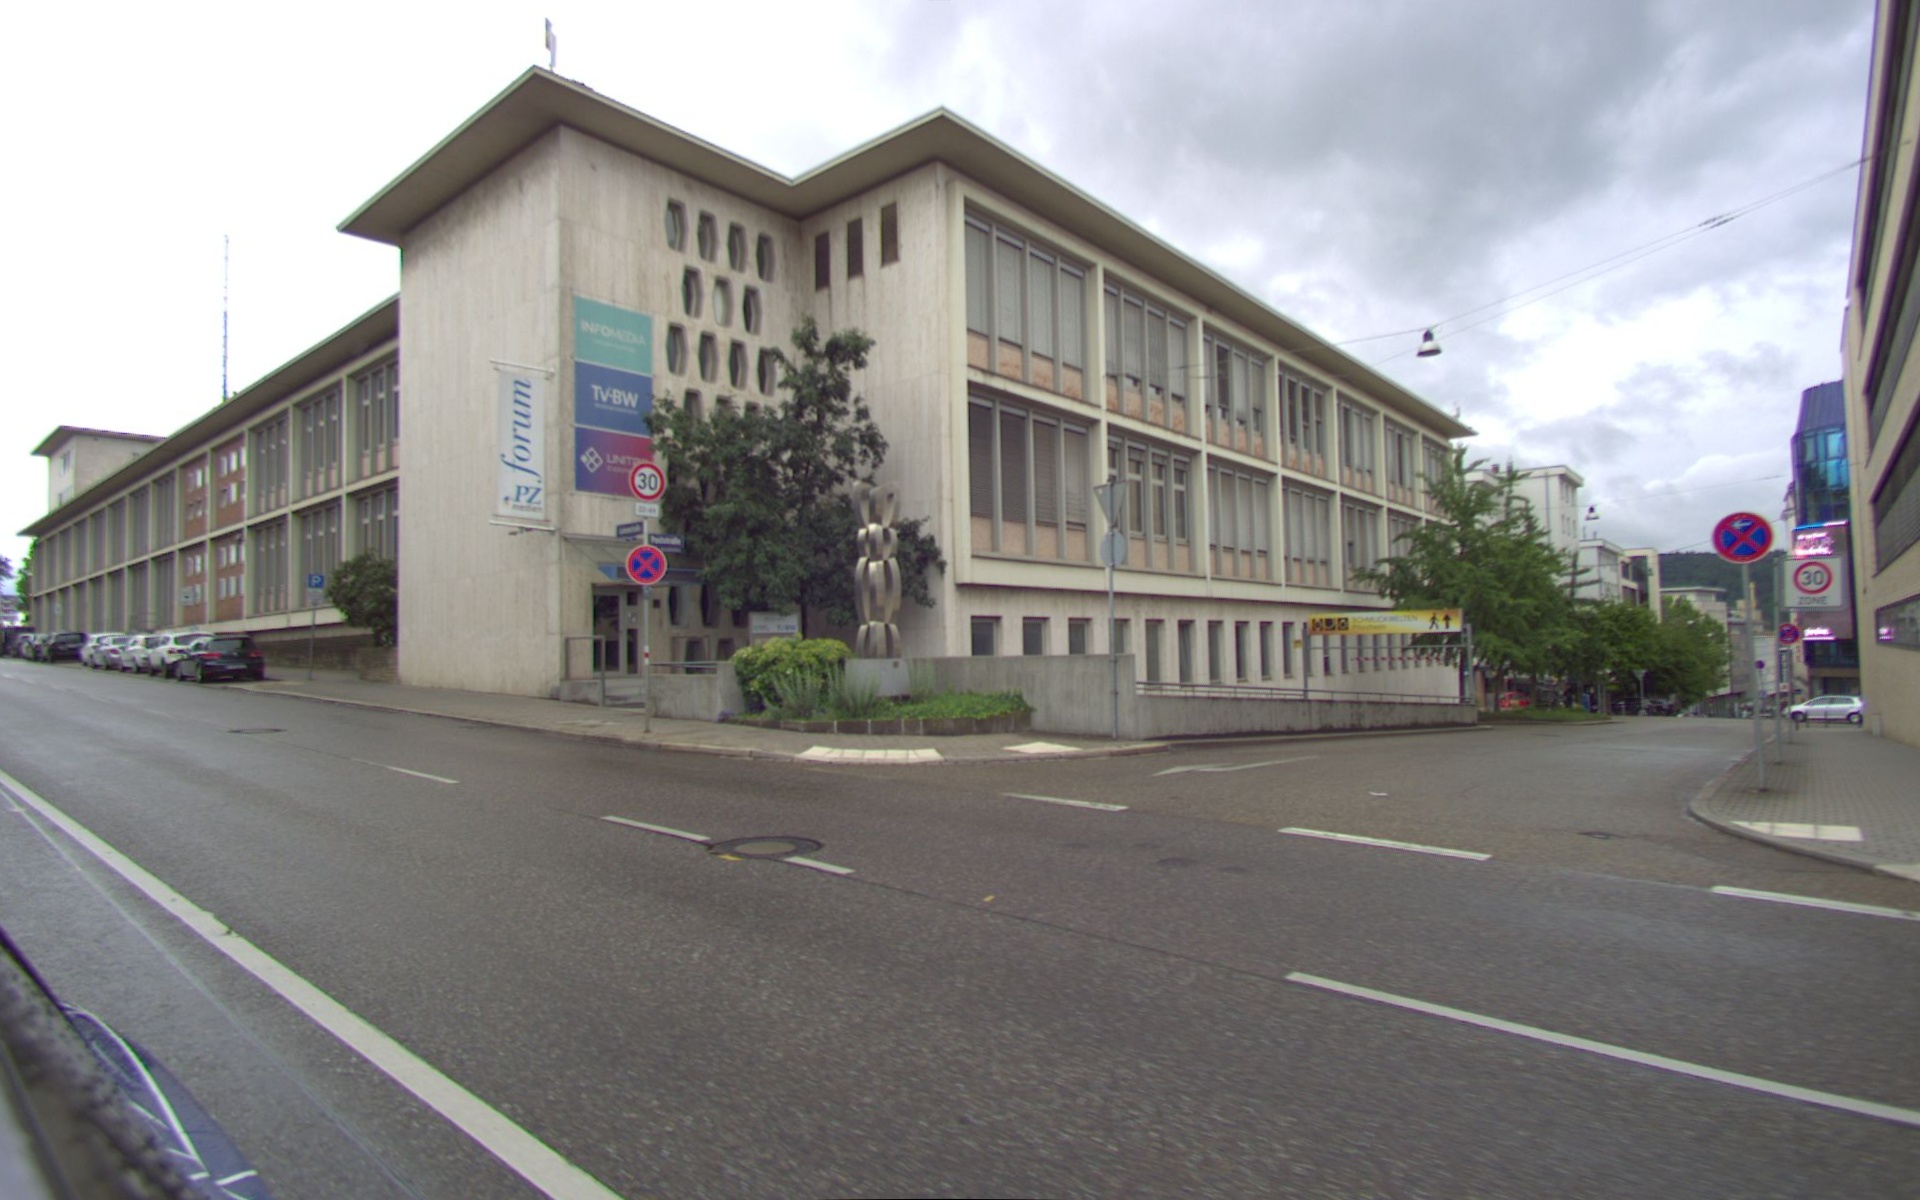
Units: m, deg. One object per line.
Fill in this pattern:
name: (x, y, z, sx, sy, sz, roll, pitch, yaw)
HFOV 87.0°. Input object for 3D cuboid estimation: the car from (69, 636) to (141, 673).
car: (-40.216, 2.510, 47.601, 3.997, 1.541, 1.973, -1, 0, 41)

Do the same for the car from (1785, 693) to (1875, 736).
car: (50.449, 6.599, 58.735, 1.970, 2.029, 3.776, -1, 0, -43)

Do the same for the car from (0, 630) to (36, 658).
car: (-62.689, 2.883, 66.838, 3.997, 1.659, 1.973, 0, 2, 40)

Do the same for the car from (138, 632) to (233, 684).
car: (-27.959, 2.035, 36.493, 3.998, 1.654, 1.973, -1, 0, 41)

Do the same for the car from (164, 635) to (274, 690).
car: (-24.121, 1.971, 32.914, 3.996, 1.541, 1.974, -1, 0, 40)

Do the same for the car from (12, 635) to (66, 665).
car: (-55.903, 3.002, 61.398, 3.998, 1.590, 1.973, -1, 0, 41)

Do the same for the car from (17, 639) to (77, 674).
car: (-51.187, 3.111, 56.728, 3.997, 1.747, 1.974, -1, 0, 40)

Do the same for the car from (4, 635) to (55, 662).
car: (-59.020, 3.031, 64.166, 3.998, 1.548, 1.973, -1, 0, 41)

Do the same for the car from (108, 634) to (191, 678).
car: (-32.159, 2.187, 40.132, 4.000, 1.523, 1.972, -1, 0, 43)

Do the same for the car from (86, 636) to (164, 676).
car: (-35.905, 2.368, 43.466, 4.184, 1.502, 1.972, -1, 0, 42)

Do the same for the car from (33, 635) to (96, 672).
car: (-46.958, 2.756, 53.059, 3.998, 1.724, 1.973, -1, 0, 41)
